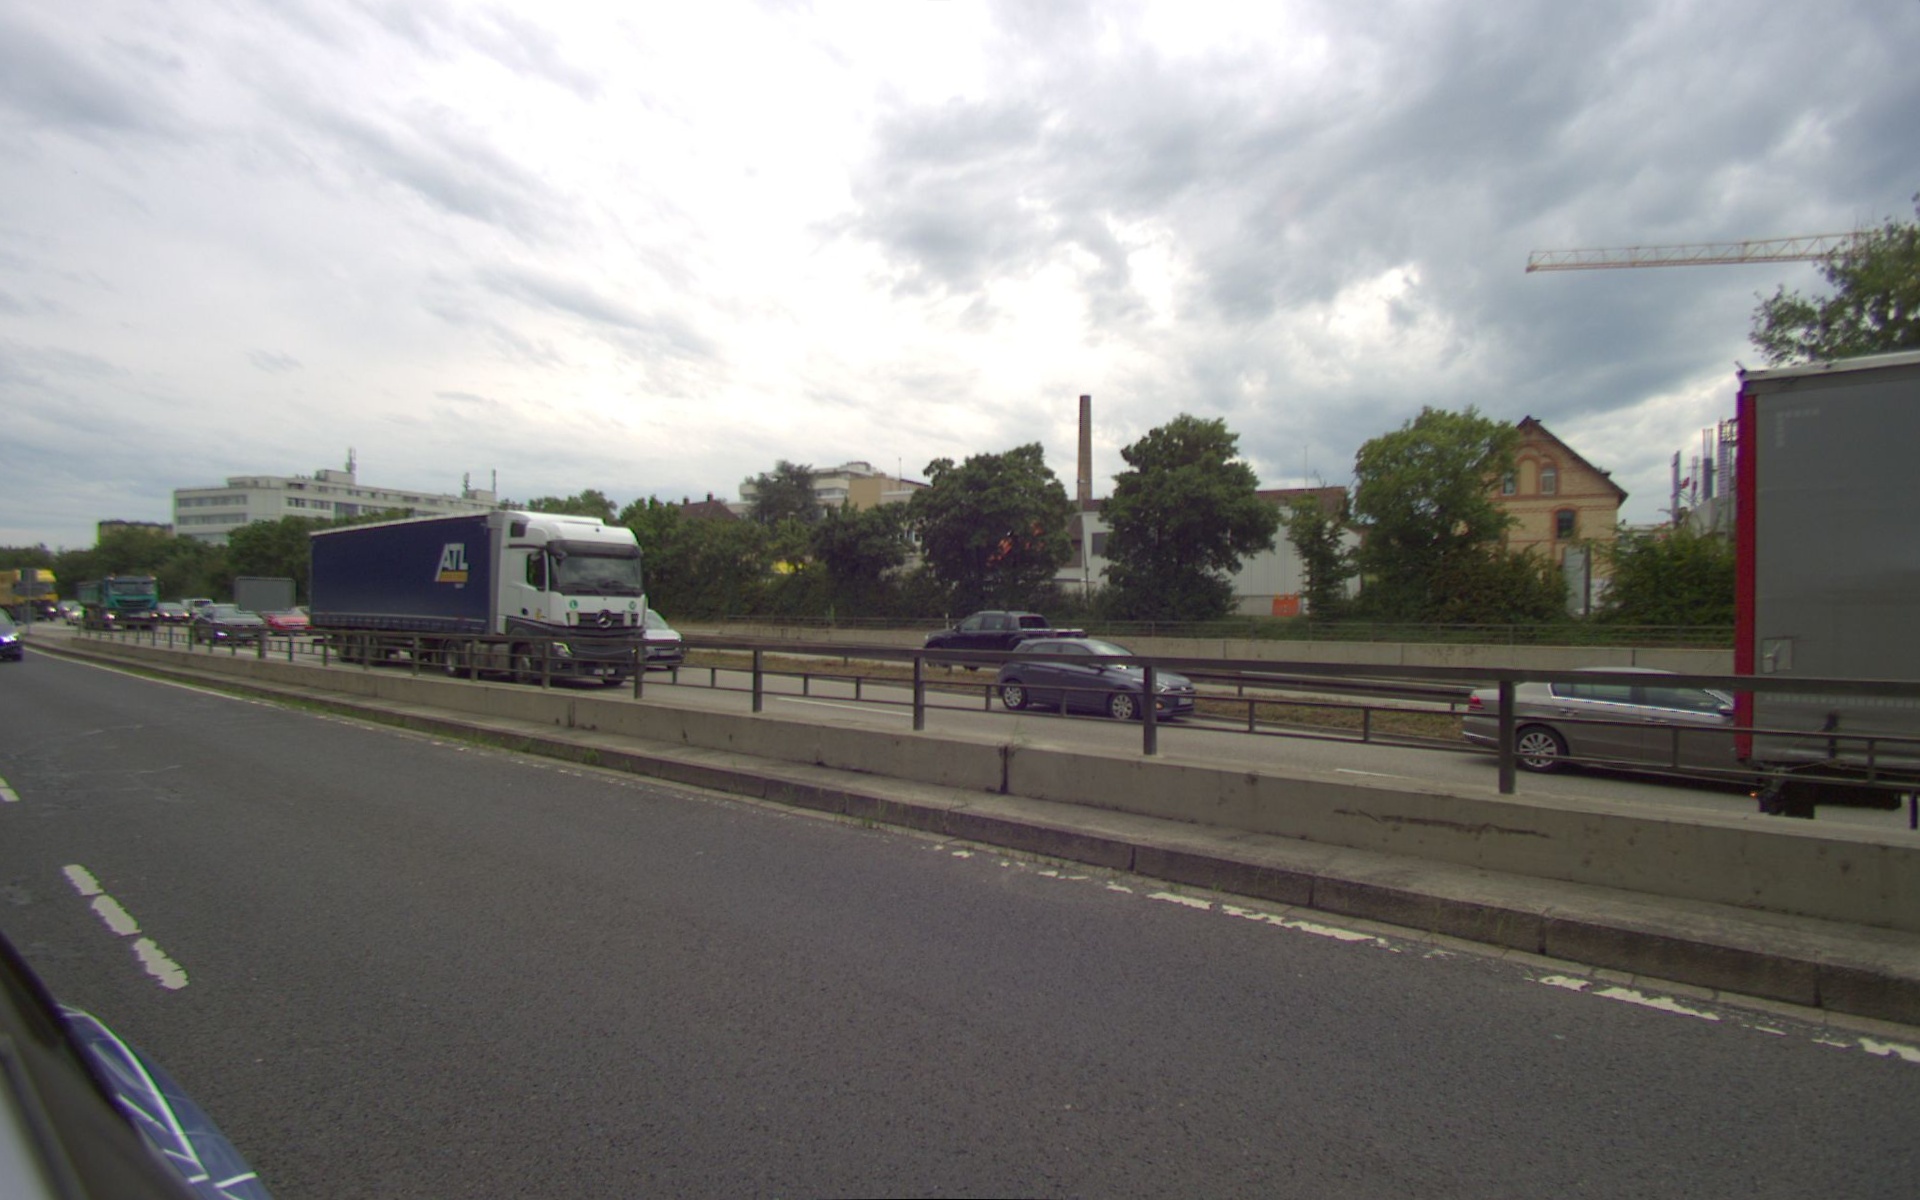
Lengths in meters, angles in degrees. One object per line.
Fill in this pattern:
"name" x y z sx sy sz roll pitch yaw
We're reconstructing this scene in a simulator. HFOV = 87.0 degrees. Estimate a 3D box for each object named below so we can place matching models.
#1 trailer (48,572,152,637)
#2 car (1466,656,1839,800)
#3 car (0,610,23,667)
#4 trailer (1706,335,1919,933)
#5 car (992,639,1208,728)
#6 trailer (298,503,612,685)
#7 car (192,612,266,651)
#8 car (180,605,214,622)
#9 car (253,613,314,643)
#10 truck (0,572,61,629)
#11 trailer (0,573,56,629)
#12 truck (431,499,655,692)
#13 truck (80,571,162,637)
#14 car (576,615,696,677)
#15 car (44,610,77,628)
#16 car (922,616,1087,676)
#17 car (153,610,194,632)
"trailer" -54.488 0.351 63.855 16.743 3.668 2.579 -1 -2 42
"car" 9.032 1.556 13.394 3.897 1.452 1.606 -1 0 43
"car" -28.716 1.107 29.391 4.420 1.575 1.761 -1 0 42
"trailer" 11.956 0.202 3.816 14.549 4.067 2.623 -1 -2 42
"car" 2.628 1.519 19.497 3.895 1.452 1.607 0 -2 41
"trailer" -14.801 -0.055 28.443 14.778 4.067 2.498 -1 -2 42
"car" -29.686 1.250 41.084 3.998 1.452 1.606 -1 0 42
"car" -70.171 1.264 93.048 3.895 1.523 1.711 -1 0 41
"car" -34.141 1.380 51.029 3.998 1.452 1.606 -1 0 42
"truck" -75.126 0.107 81.761 6.517 4.377 2.855 -1 -2 41
"trailer" -82.019 0.170 87.860 19.914 4.387 2.860 -1 -2 42
"truck" -10.133 -0.045 24.320 6.094 4.067 2.498 -1 -2 42
"truck" -48.791 0.283 58.797 6.665 3.663 2.611 -1 -2 42
"car" -9.571 1.299 29.762 3.895 1.682 1.606 -1 0 42
"car" -82.949 1.760 93.355 4.420 1.575 1.761 -1 0 42
"car" 1.214 1.251 29.225 4.838 1.564 1.606 -1 0 42
"car" -56.121 1.484 72.186 3.998 1.452 1.606 -1 0 42
